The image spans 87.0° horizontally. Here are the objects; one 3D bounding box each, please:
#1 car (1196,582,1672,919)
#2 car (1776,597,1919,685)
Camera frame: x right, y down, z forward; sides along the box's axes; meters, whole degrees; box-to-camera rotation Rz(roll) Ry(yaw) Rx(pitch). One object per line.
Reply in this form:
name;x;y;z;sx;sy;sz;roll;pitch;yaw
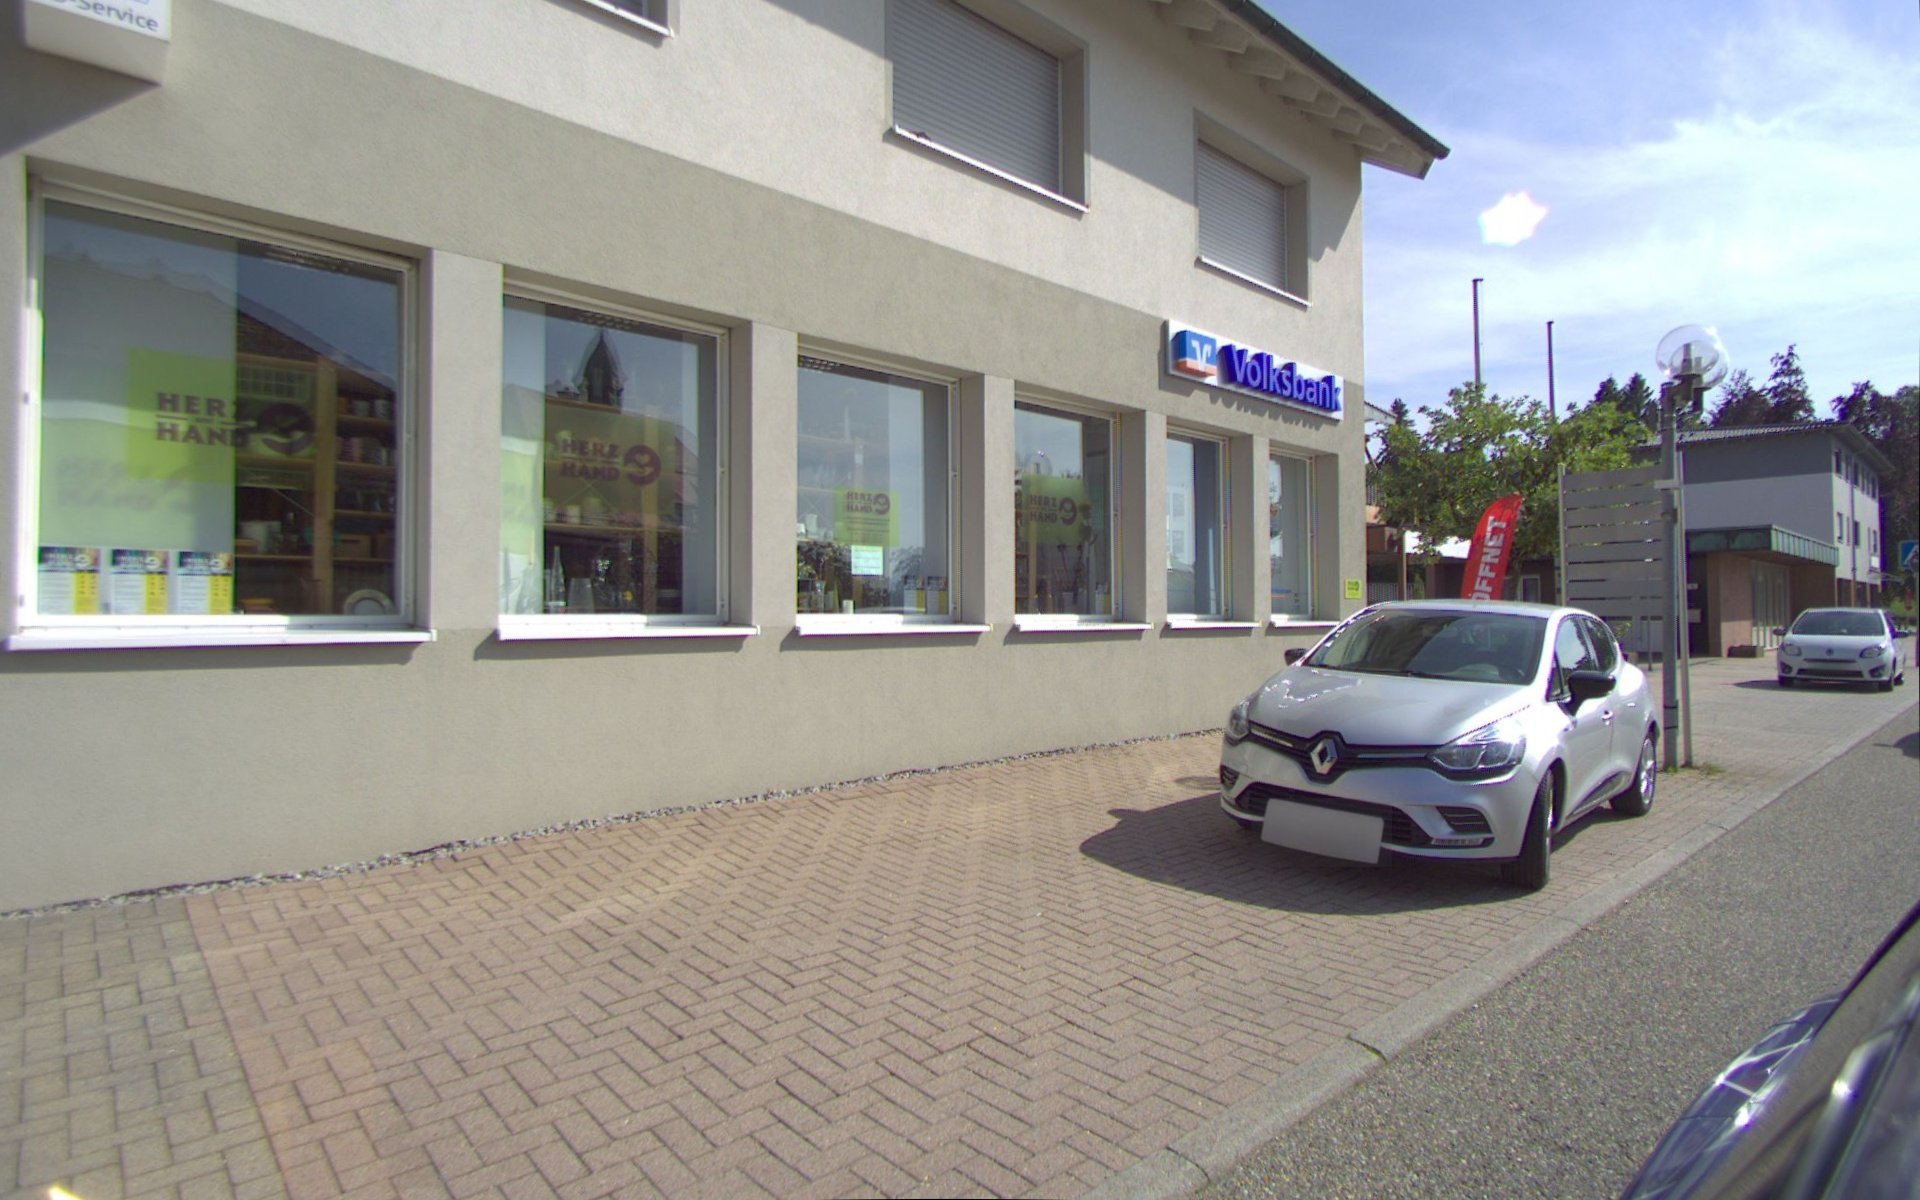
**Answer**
car;3.181;0.633;6.355;1.634;1.437;3.875;1;1;42
car;16.815;0.698;18.883;3.568;1.441;1.764;0;1;-39
